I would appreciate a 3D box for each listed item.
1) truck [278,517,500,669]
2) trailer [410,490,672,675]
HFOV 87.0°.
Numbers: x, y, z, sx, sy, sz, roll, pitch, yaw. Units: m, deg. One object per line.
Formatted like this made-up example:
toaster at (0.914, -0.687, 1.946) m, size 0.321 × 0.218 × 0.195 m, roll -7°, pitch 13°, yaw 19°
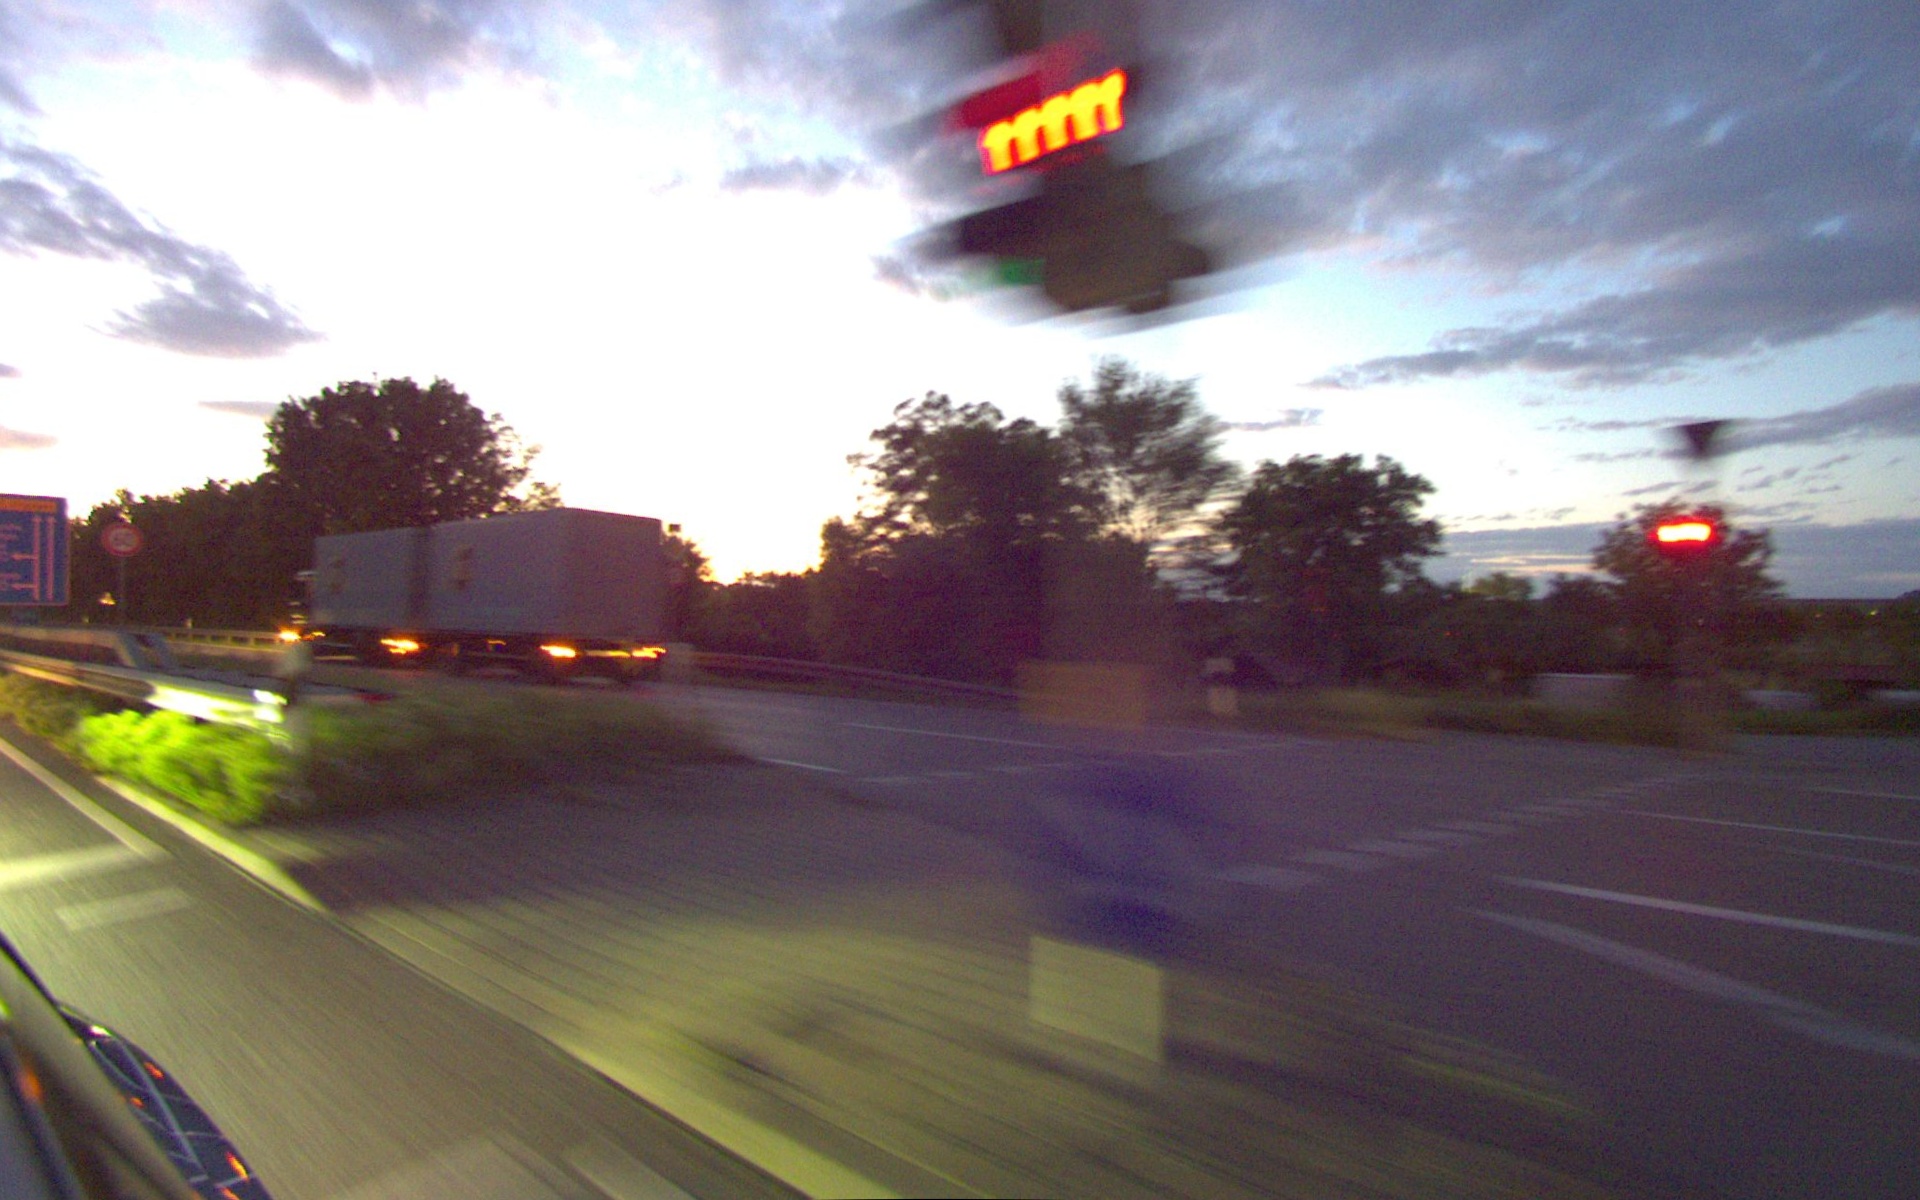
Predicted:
truck at (-18.264, -0.166, 31.920) m, size 10.338 × 4.148 × 2.698 m, roll 0°, pitch 0°, yaw 40°
trailer at (-10.874, -0.292, 25.633) m, size 8.876 × 3.973 × 2.549 m, roll -1°, pitch -2°, yaw 42°
